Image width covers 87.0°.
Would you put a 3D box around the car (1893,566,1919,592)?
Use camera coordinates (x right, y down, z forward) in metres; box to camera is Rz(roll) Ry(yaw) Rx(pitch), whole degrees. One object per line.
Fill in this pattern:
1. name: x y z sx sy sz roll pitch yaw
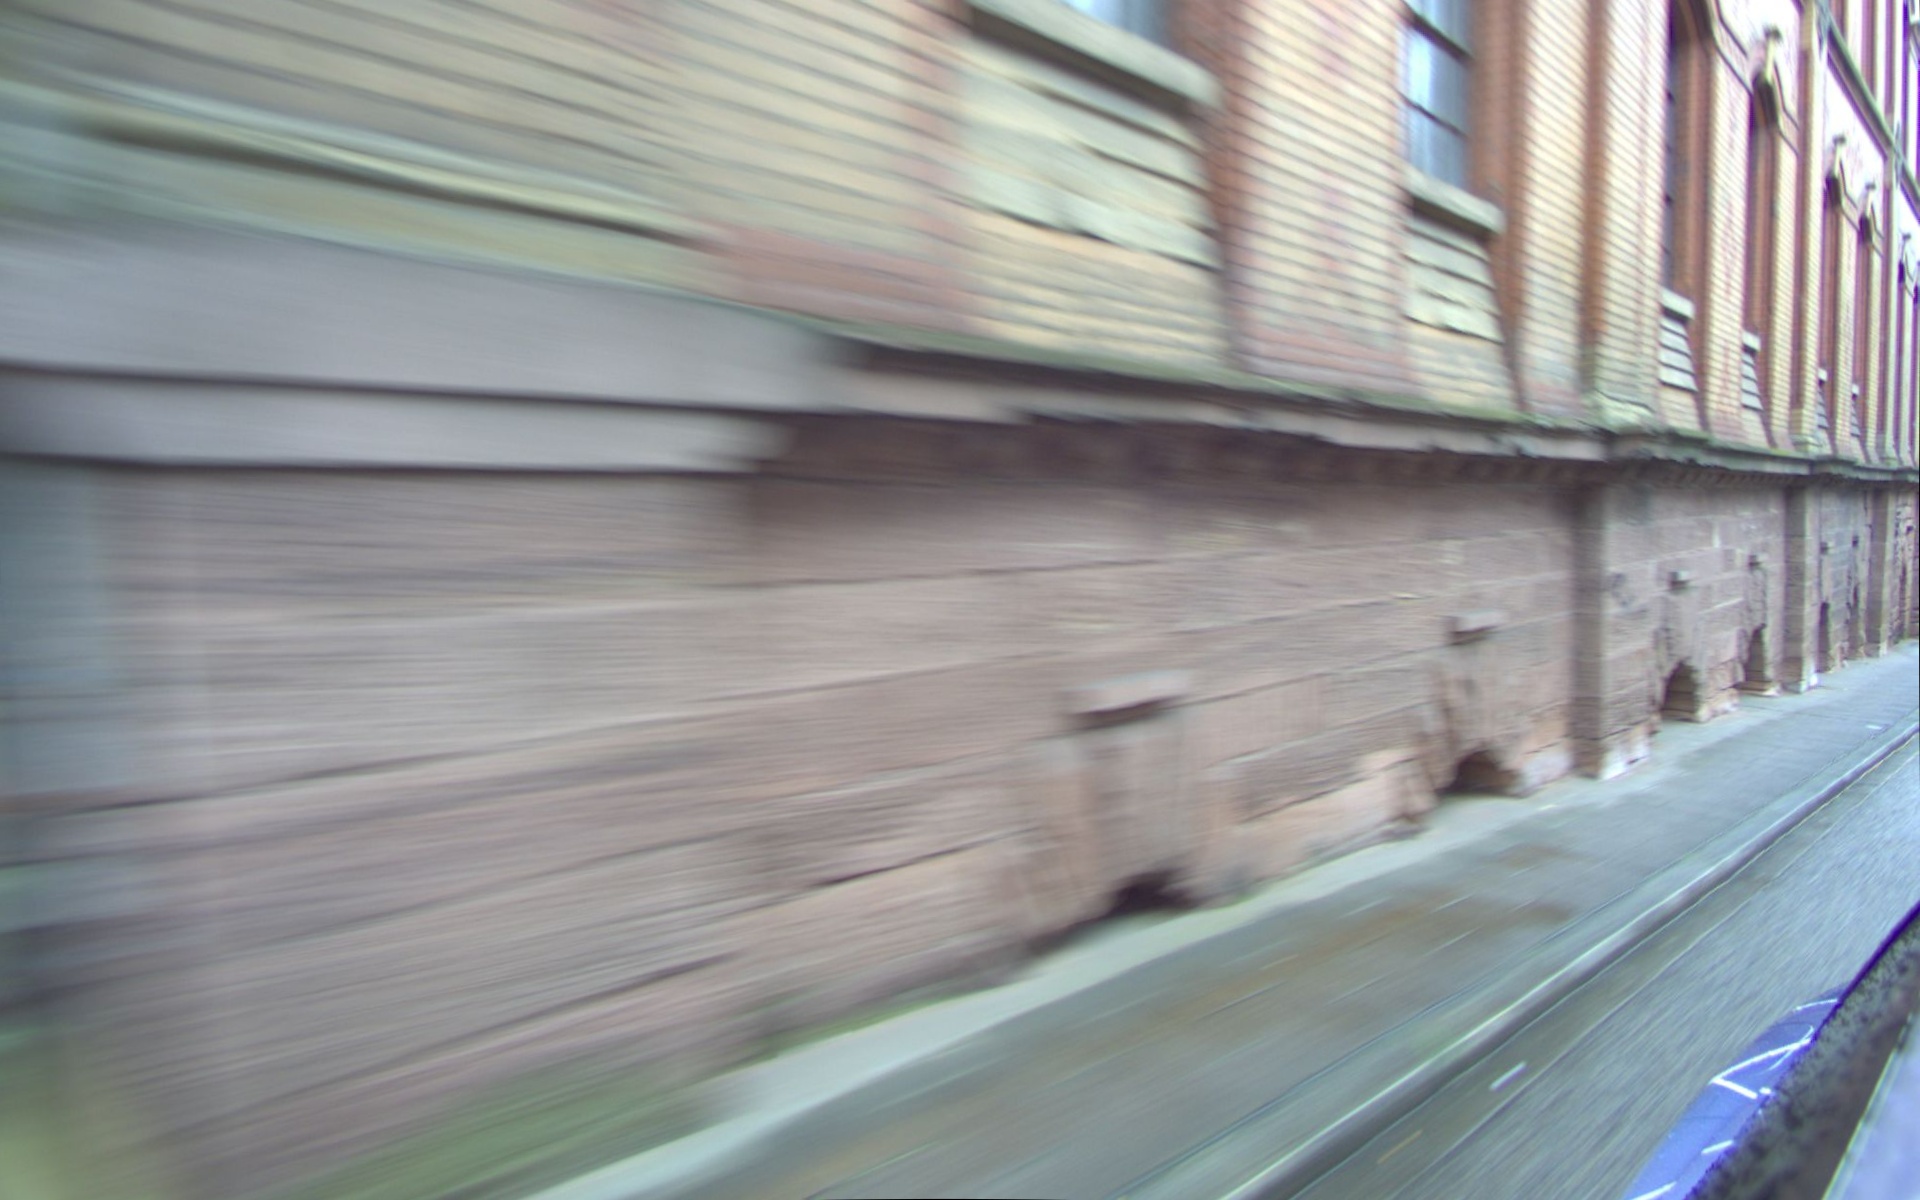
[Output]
1. car: 66.295 -1.477 70.380 1.762 1.678 3.932 3 3 39
